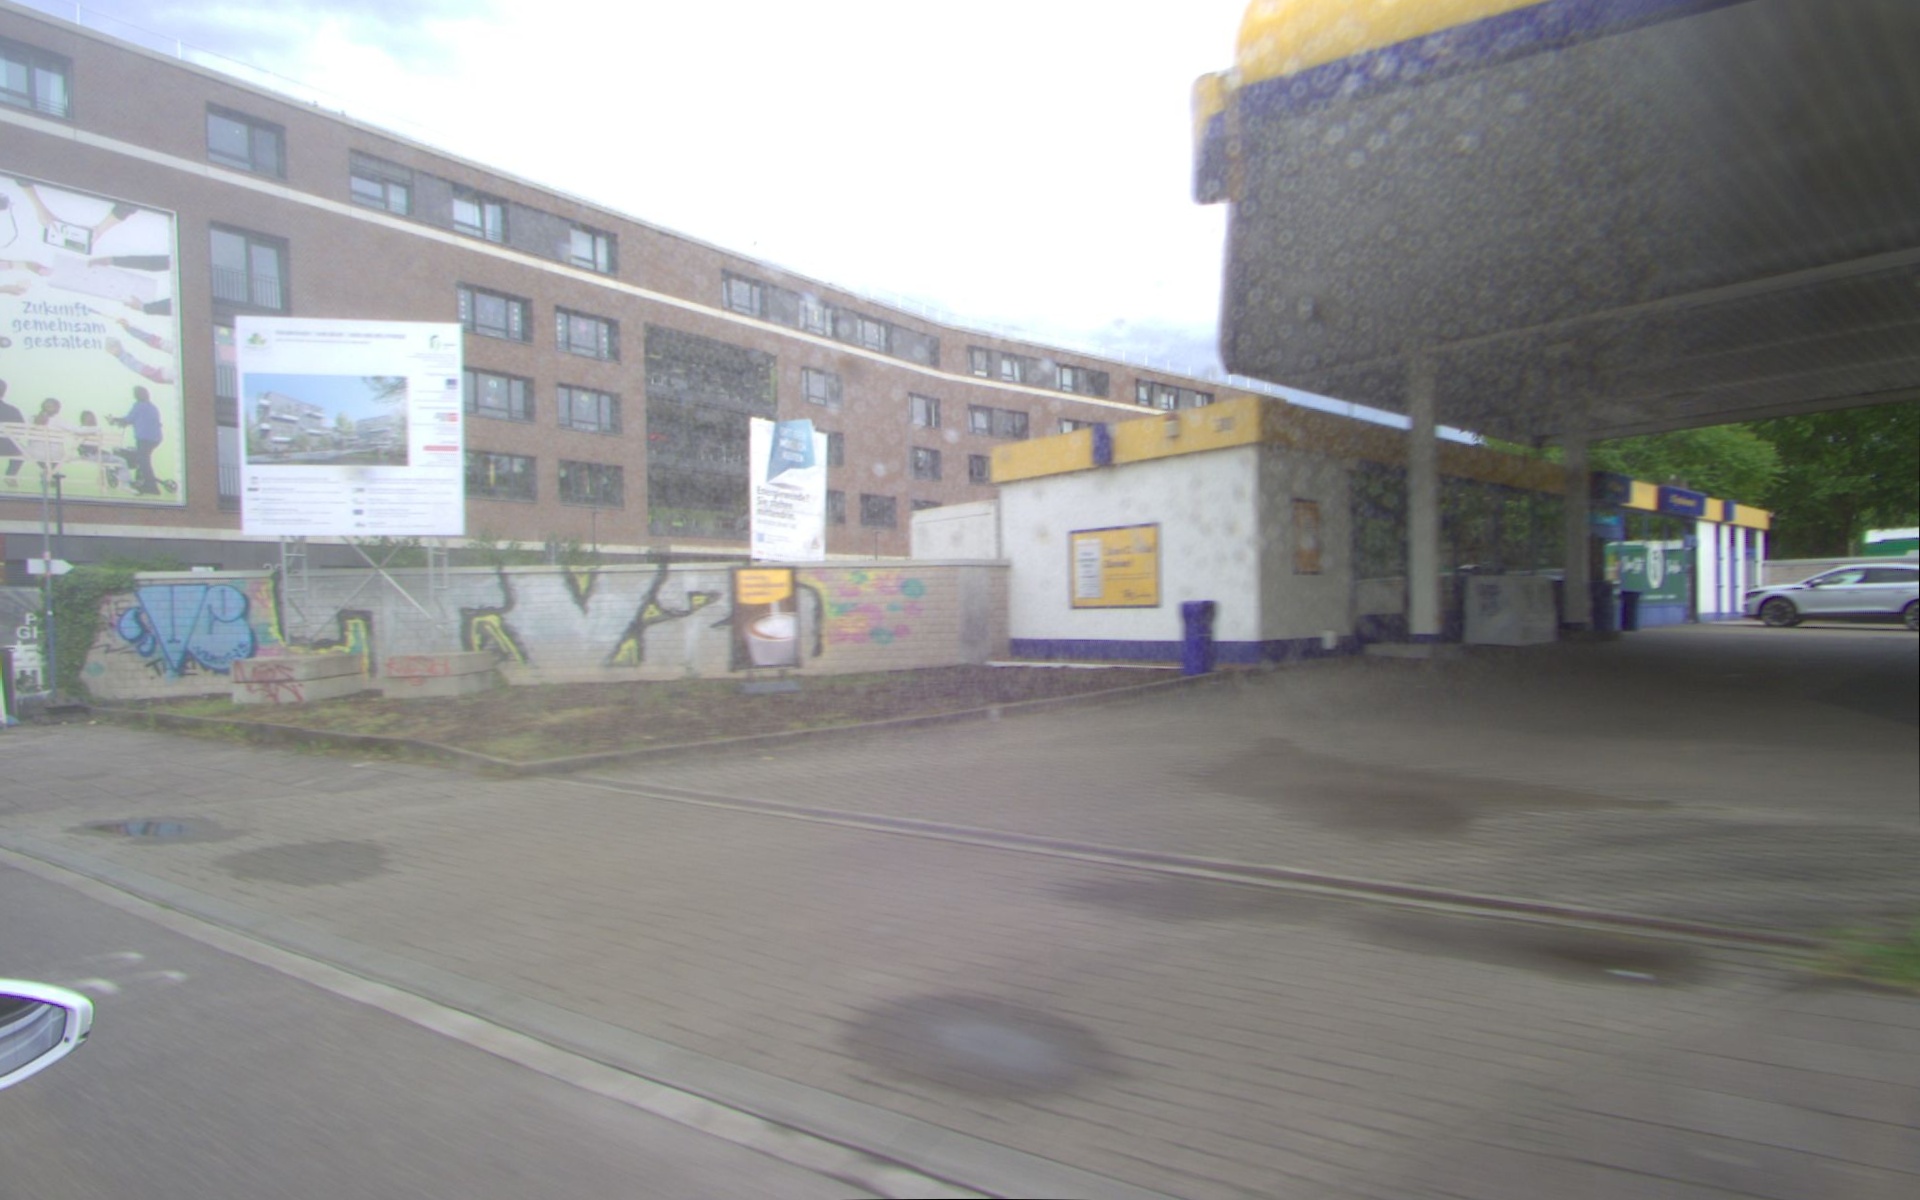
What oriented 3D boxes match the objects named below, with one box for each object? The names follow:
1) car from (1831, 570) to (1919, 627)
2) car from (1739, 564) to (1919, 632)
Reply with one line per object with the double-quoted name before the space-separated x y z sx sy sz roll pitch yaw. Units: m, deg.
"car" 28.138 -0.032 28.801 1.937 1.608 4.386 0 1 -40
"car" 22.671 -0.073 25.047 1.921 1.617 4.718 -1 2 -41
